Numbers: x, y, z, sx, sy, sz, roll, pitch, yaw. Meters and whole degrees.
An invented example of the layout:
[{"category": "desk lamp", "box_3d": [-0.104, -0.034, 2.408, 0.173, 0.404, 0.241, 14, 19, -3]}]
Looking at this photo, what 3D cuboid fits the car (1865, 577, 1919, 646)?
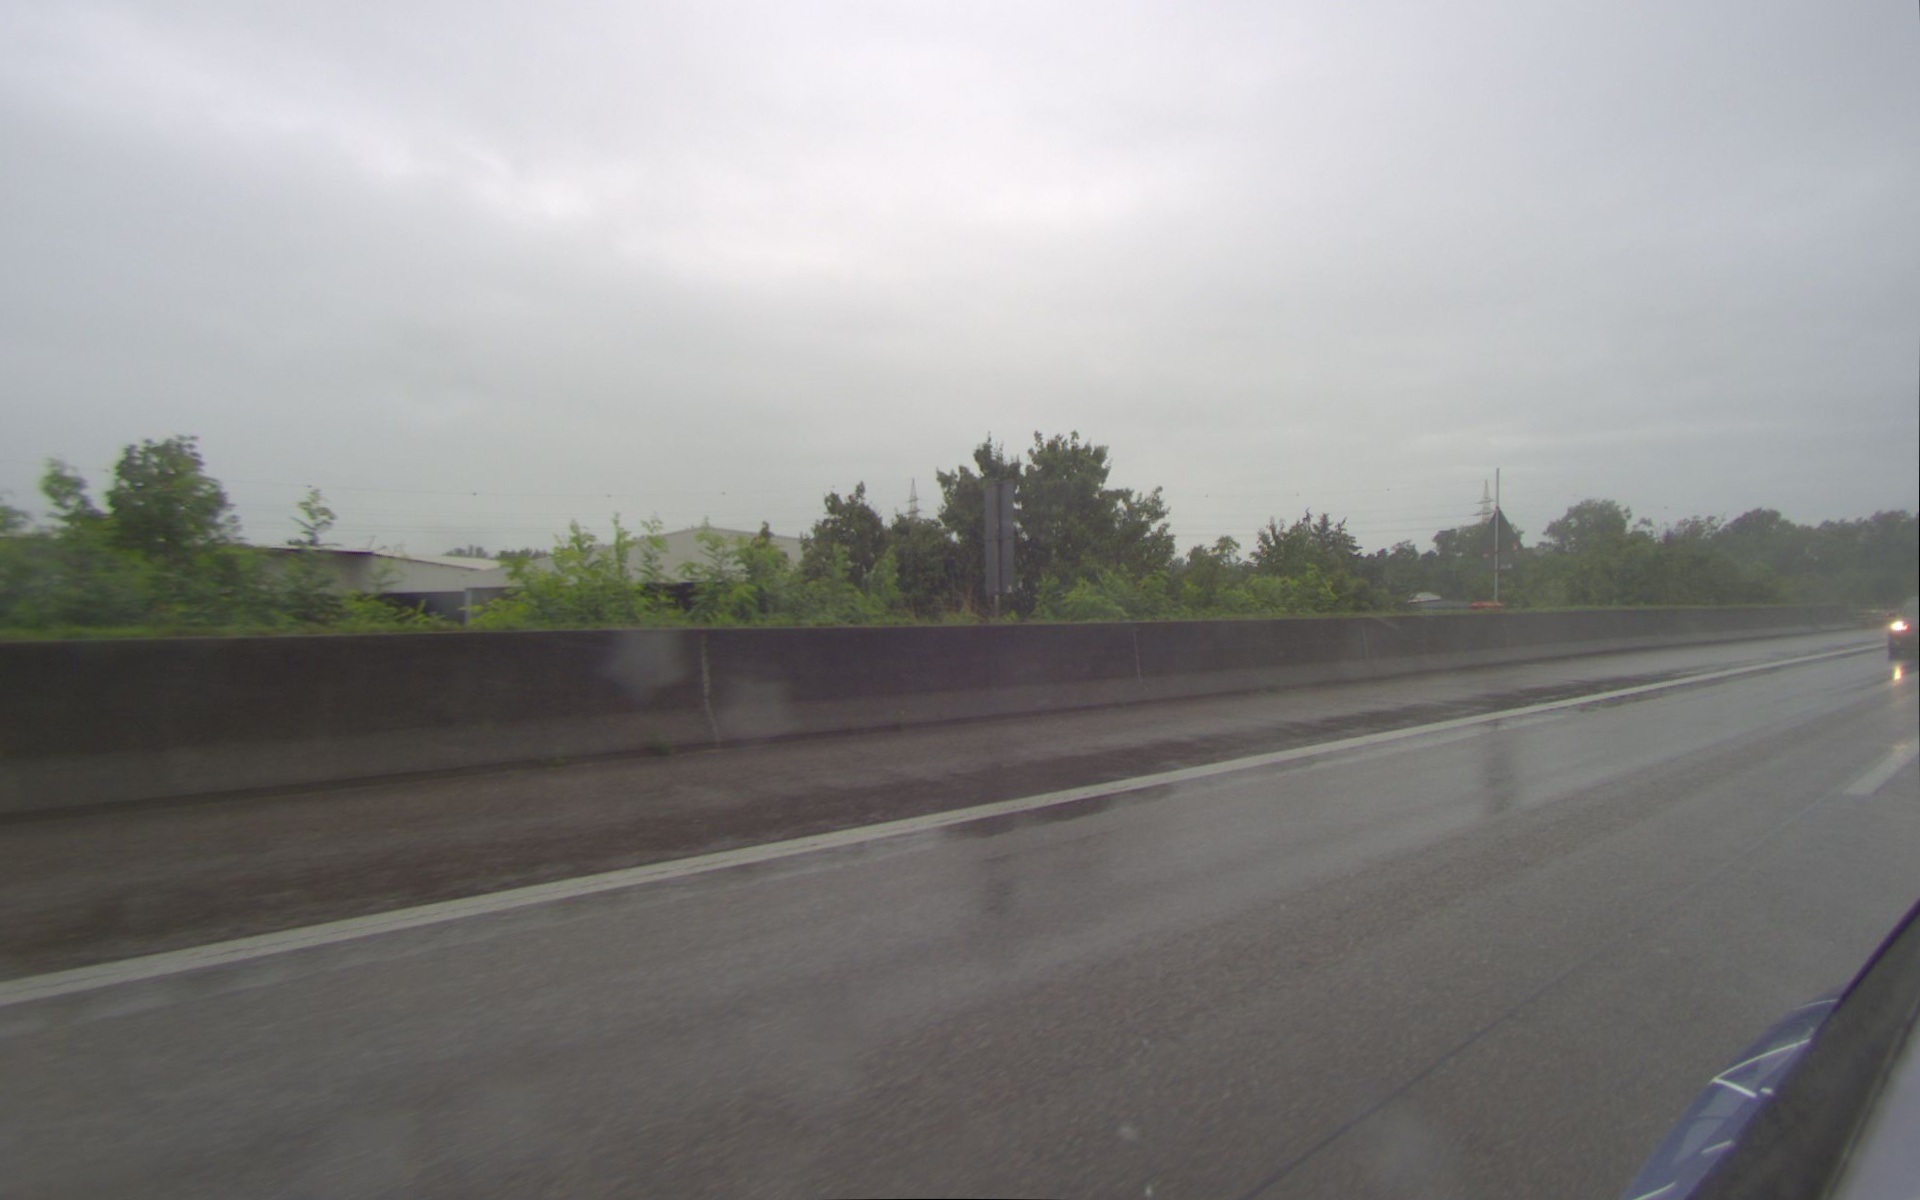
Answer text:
[{"category": "car", "box_3d": [27.139, 0.296, 27.839, 5.615, 1.768, 2.463, 0, 0, -39]}]
